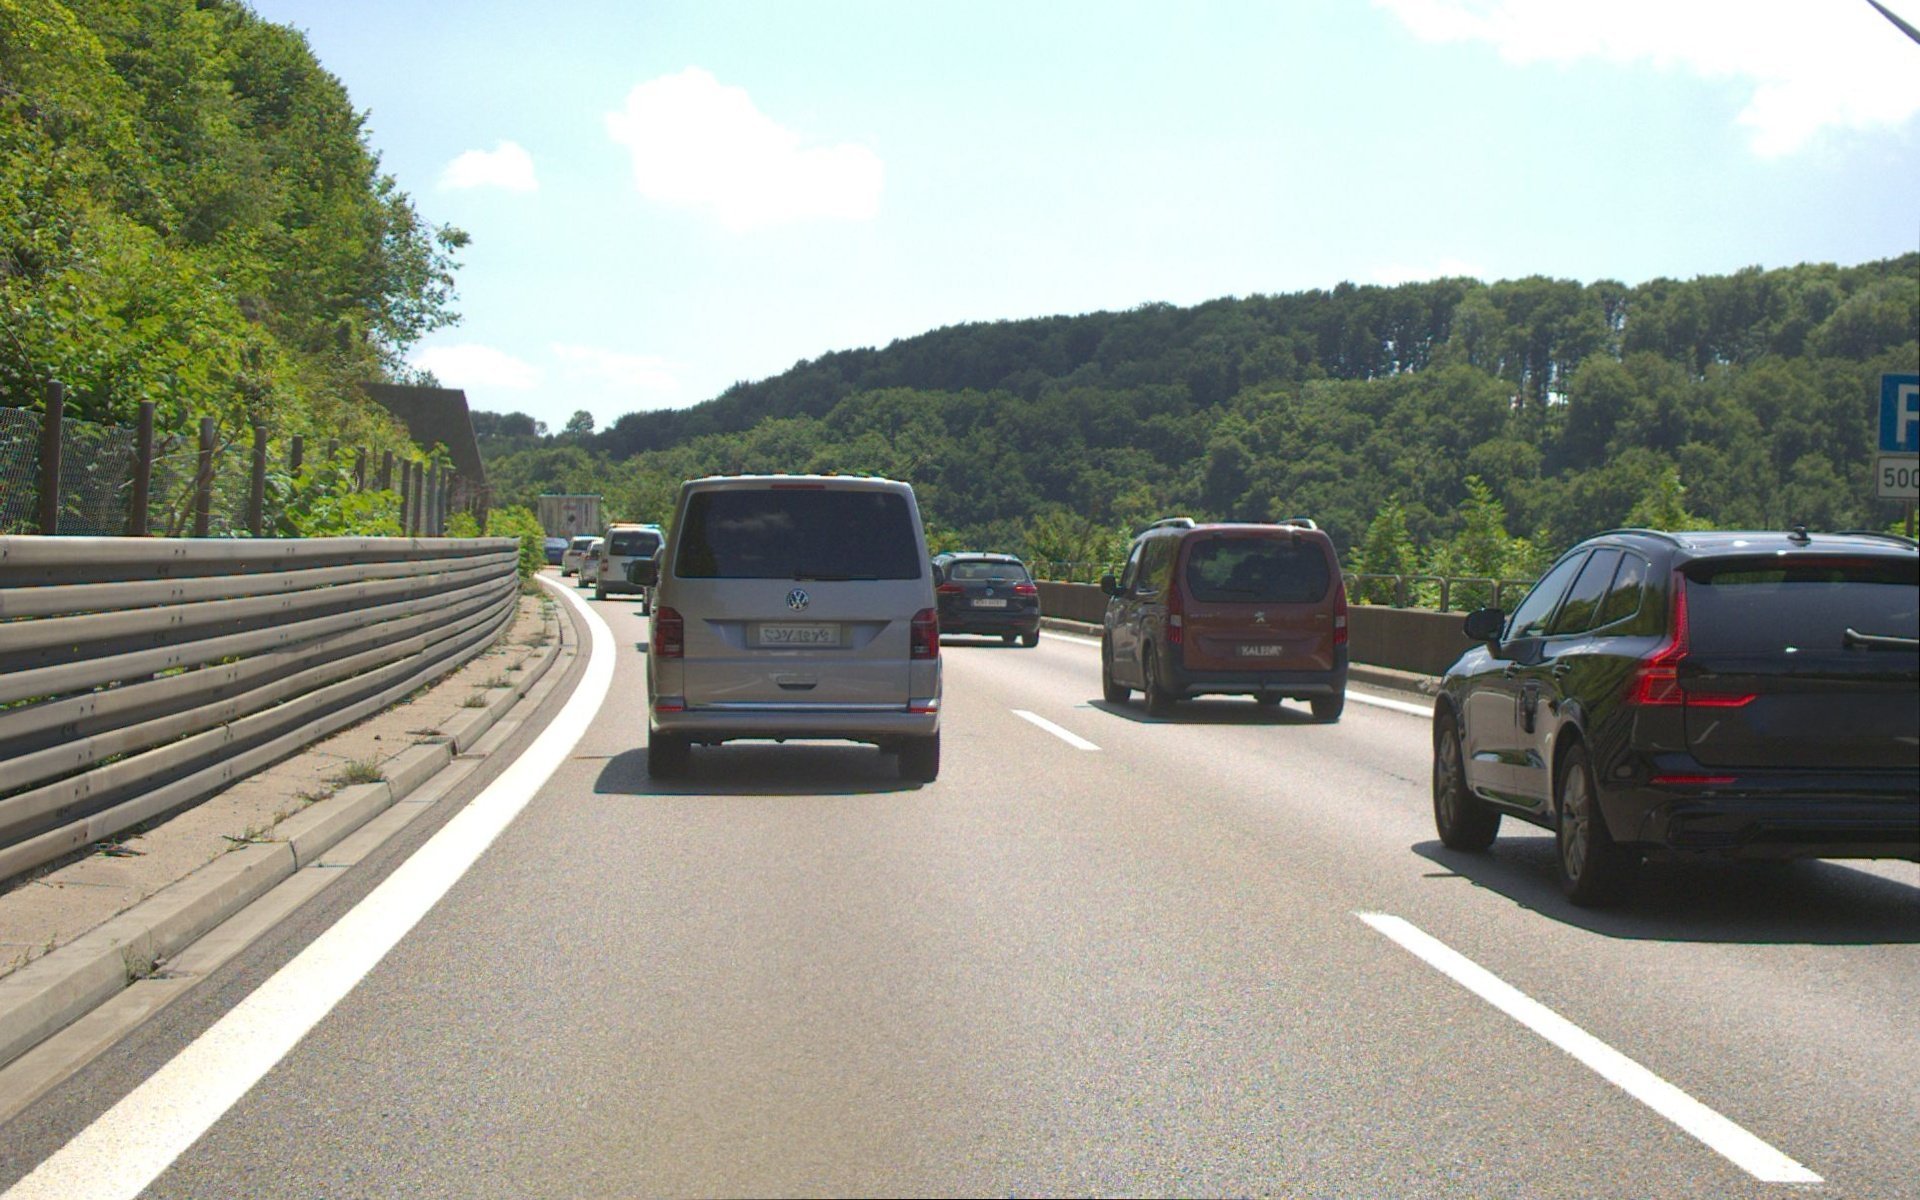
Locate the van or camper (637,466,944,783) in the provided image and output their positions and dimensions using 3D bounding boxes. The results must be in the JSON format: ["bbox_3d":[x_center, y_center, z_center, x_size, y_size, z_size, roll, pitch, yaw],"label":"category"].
[{"bbox_3d":[-1.187,0.136,23.310,1.875,1.943,4.294,0,0,-4],"label":"van or camper"}]

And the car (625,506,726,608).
[{"bbox_3d":[-5.783,-0.865,70.011,1.993,2.007,4.001,0,0,-4],"label":"car"}]

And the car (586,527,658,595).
[{"bbox_3d":[-9.990,-1.165,101.408,1.993,1.908,4.001,2,1,-7],"label":"car"}]

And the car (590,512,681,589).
[{"bbox_3d":[-8.122,-1.245,85.763,1.993,1.811,4.001,2,1,-9],"label":"car"}]

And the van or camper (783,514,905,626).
[{"bbox_3d":[-2.750,-0.710,80.484,2.263,2.542,4.738,0,1,-9],"label":"van or camper"}]

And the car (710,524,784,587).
[{"bbox_3d":[-7.067,-1.476,113.757,1.993,2.007,4.001,0,1,-10],"label":"car"}]

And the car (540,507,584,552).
[{"bbox_3d":[-18.426,-3.247,159.204,1.993,2.007,4.001,0,0,-7],"label":"car"}]

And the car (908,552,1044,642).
[{"bbox_3d":[0.221,-0.075,54.721,1.768,1.371,3.593,0,1,-6],"label":"car"}]

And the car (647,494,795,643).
[{"bbox_3d":[-3.392,-0.455,48.814,1.993,2.007,4.001,0,1,-4],"label":"car"}]

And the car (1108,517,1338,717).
[{"bbox_3d":[2.454,0.133,33.104,1.833,1.778,4.676,0,0,0],"label":"car"}]

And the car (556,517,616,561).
[{"bbox_3d":[-14.472,-2.358,132.753,2.142,1.601,5.079,1,1,-8],"label":"car"}]

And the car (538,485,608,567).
[{"bbox_3d":[-23.706,-4.492,210.936,4.042,4.855,10.111,0,1,-5],"label":"car"}]

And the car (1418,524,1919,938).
[{"bbox_3d":[3.459,0.486,15.908,1.834,1.628,4.663,0,1,-3],"label":"car"}]
